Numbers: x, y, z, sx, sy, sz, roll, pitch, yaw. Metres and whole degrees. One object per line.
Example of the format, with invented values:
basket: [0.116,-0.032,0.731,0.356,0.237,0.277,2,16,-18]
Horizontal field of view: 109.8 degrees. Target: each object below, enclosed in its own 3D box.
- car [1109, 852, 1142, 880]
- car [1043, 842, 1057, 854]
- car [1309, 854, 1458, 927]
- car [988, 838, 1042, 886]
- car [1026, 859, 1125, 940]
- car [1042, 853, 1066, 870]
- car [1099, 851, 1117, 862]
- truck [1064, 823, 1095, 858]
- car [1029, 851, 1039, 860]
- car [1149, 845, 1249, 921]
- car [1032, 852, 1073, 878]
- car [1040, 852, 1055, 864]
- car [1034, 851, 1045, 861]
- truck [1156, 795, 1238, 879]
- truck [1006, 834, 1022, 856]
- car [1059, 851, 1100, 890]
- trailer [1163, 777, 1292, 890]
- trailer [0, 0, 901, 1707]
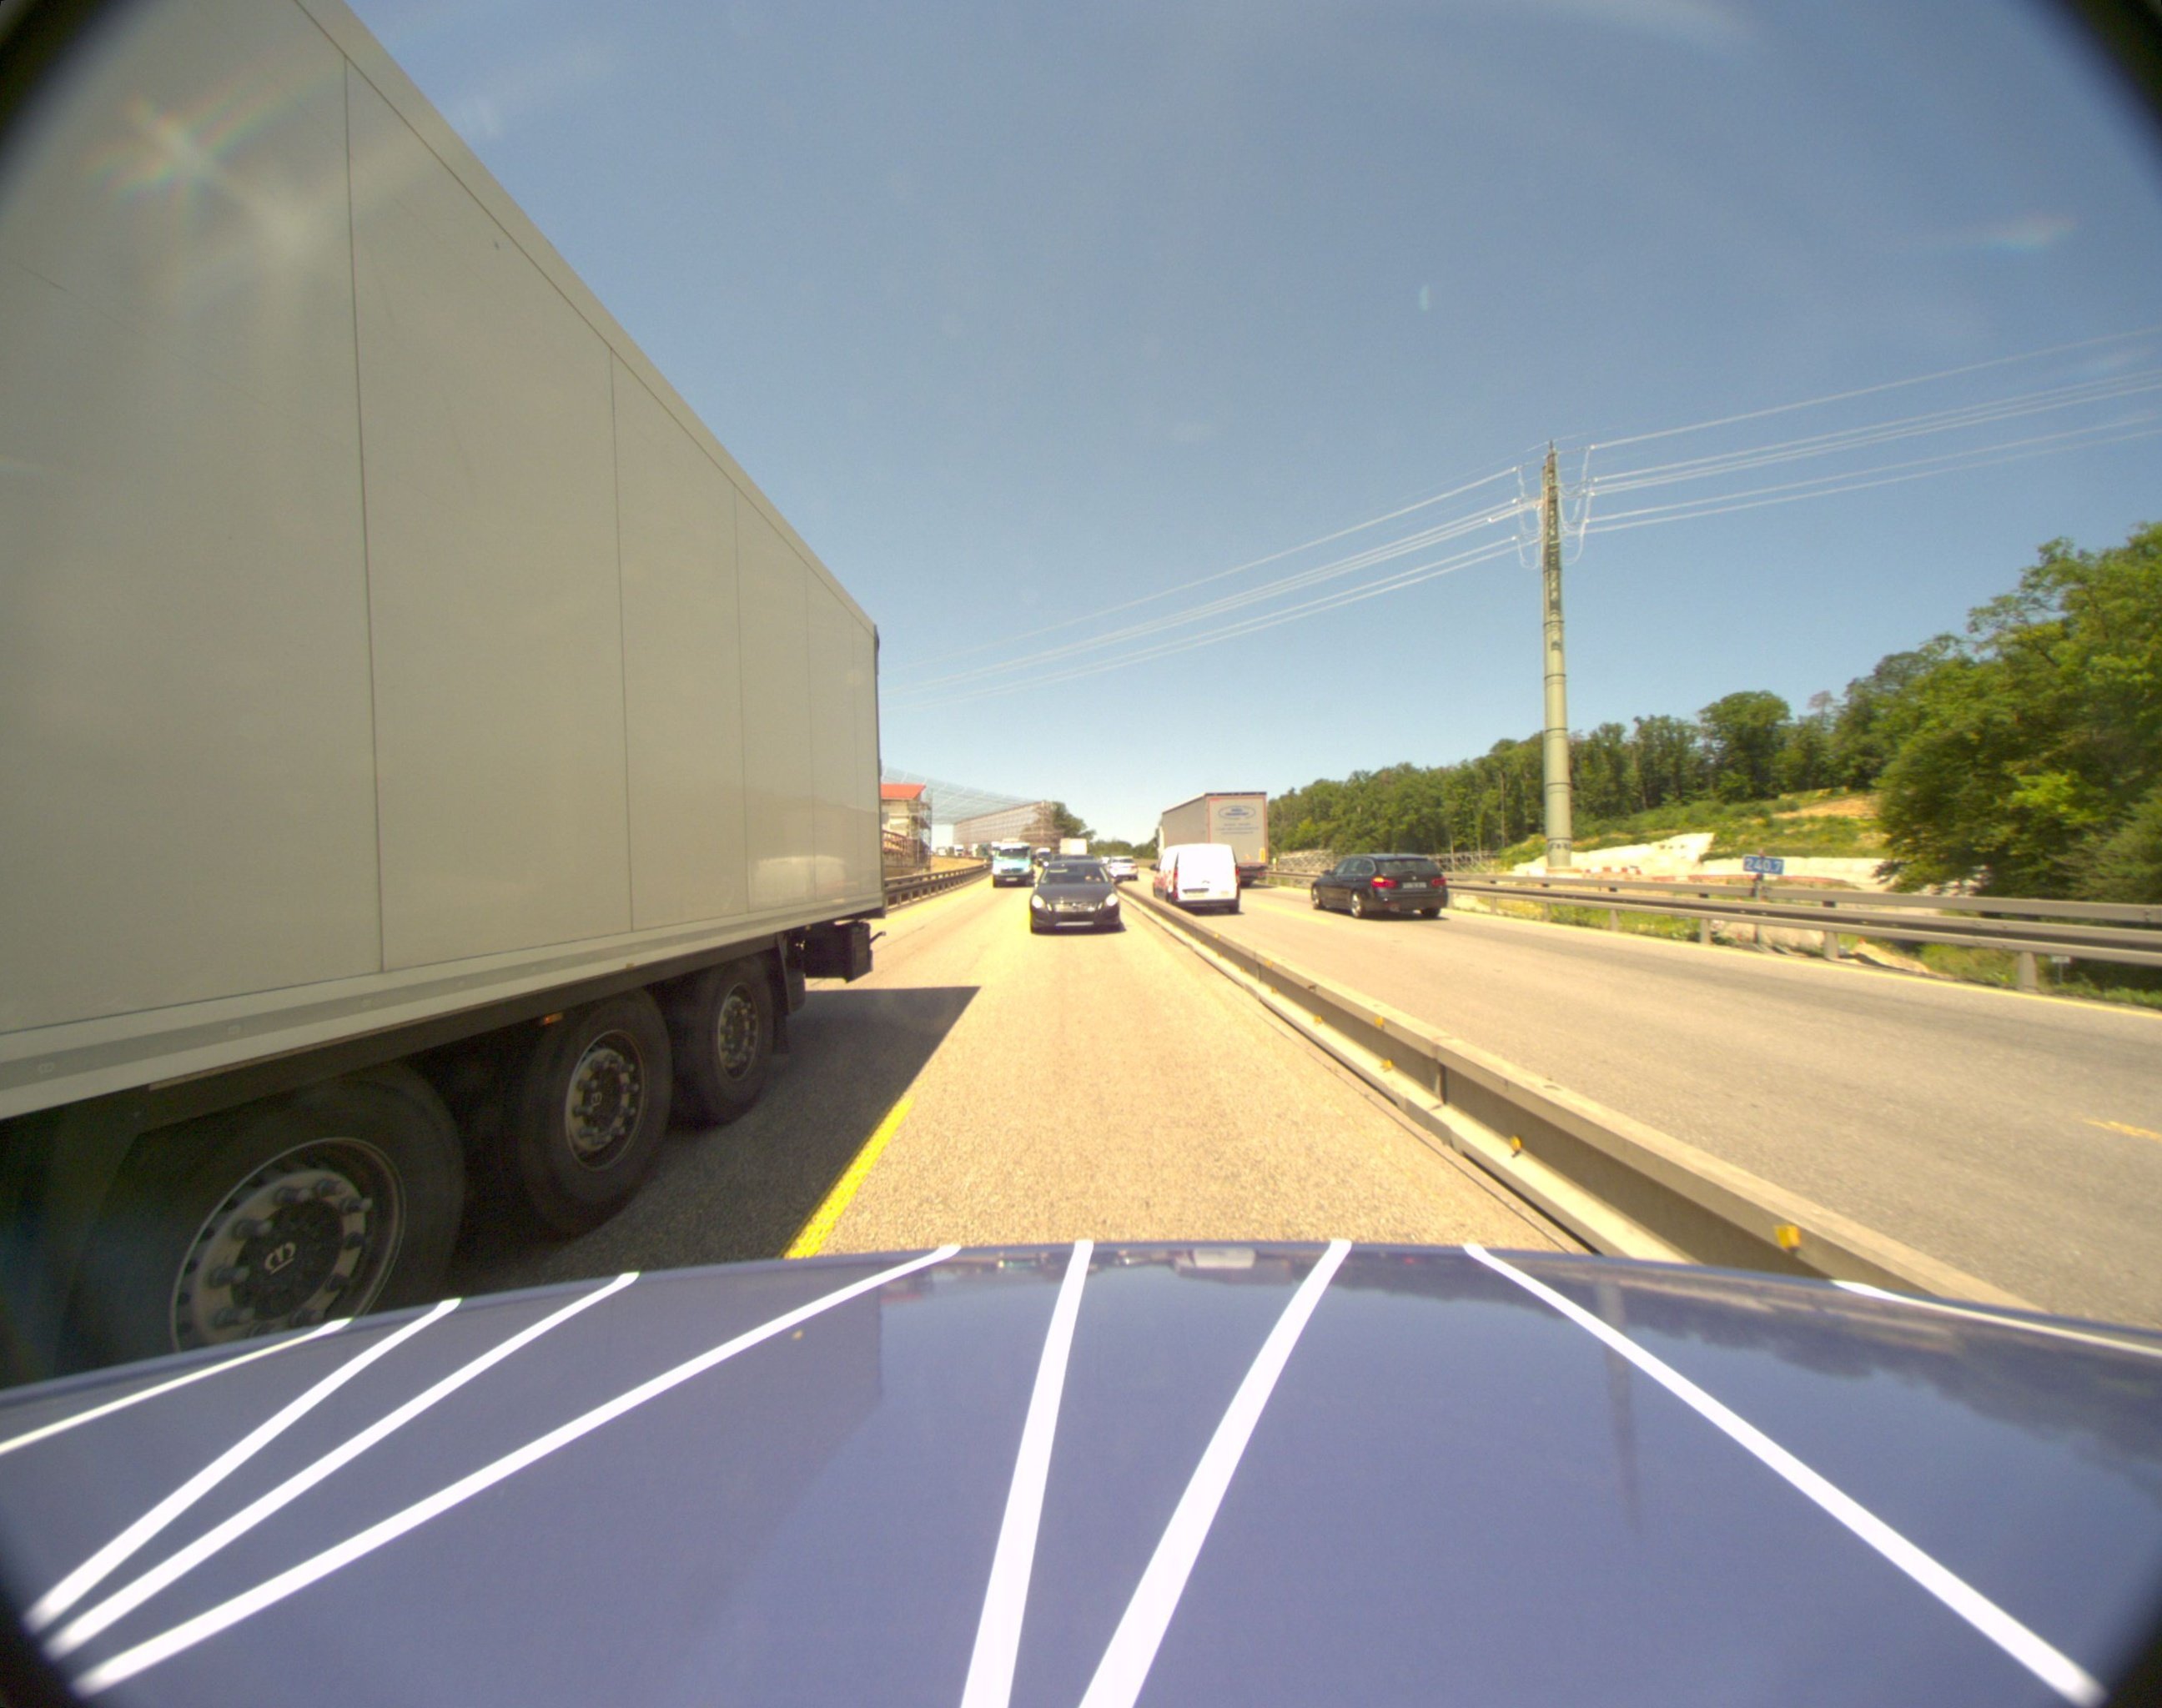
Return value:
car: [2.651,0.703,46.148,1.720,1.543,3.860,-2,1,0]
car: [-6.857,-1.381,169.767,2.916,2.425,7.371,-2,1,-2]
car: [6.859,0.753,17.741,1.781,1.420,4.303,-1,1,0]
car: [-3.422,0.350,40.884,2.217,2.312,6.901,-1,1,0]
car: [-0.093,0.890,16.738,1.844,1.475,4.563,-1,0,0]
car: [-2.305,0.616,64.576,1.646,1.366,3.345,-2,1,4]
car: [3.087,0.284,88.137,1.758,1.237,3.591,-2,1,-2]
truck: [-0.438,-2.194,126.387,3.567,5.334,16.084,-2,1,-5]
car: [-8.164,0.232,132.771,1.647,1.366,3.343,-2,1,-5]
car: [3.032,0.674,20.434,1.865,1.762,4.231,-2,1,-2]
car: [-1.931,0.700,52.597,2.297,1.601,4.666,-2,1,4]
car: [-4.240,0.459,95.310,1.647,1.366,3.343,-2,1,-5]
car: [-6.179,0.350,113.526,1.647,1.366,3.343,-2,1,-2]
truck: [6.543,-0.947,44.271,3.405,4.396,7.273,-2,1,-1]
truck: [-11.174,-1.521,127.830,2.471,3.464,9.863,-2,1,-4]
car: [-0.009,0.672,32.972,1.519,1.543,3.861,-1,1,4]
trailer: [6.687,-0.887,37.473,3.498,4.460,12.923,-2,1,-1]
trailer: [-3.163,-0.256,1.933,2.538,4.103,11.546,-2,1,0]
